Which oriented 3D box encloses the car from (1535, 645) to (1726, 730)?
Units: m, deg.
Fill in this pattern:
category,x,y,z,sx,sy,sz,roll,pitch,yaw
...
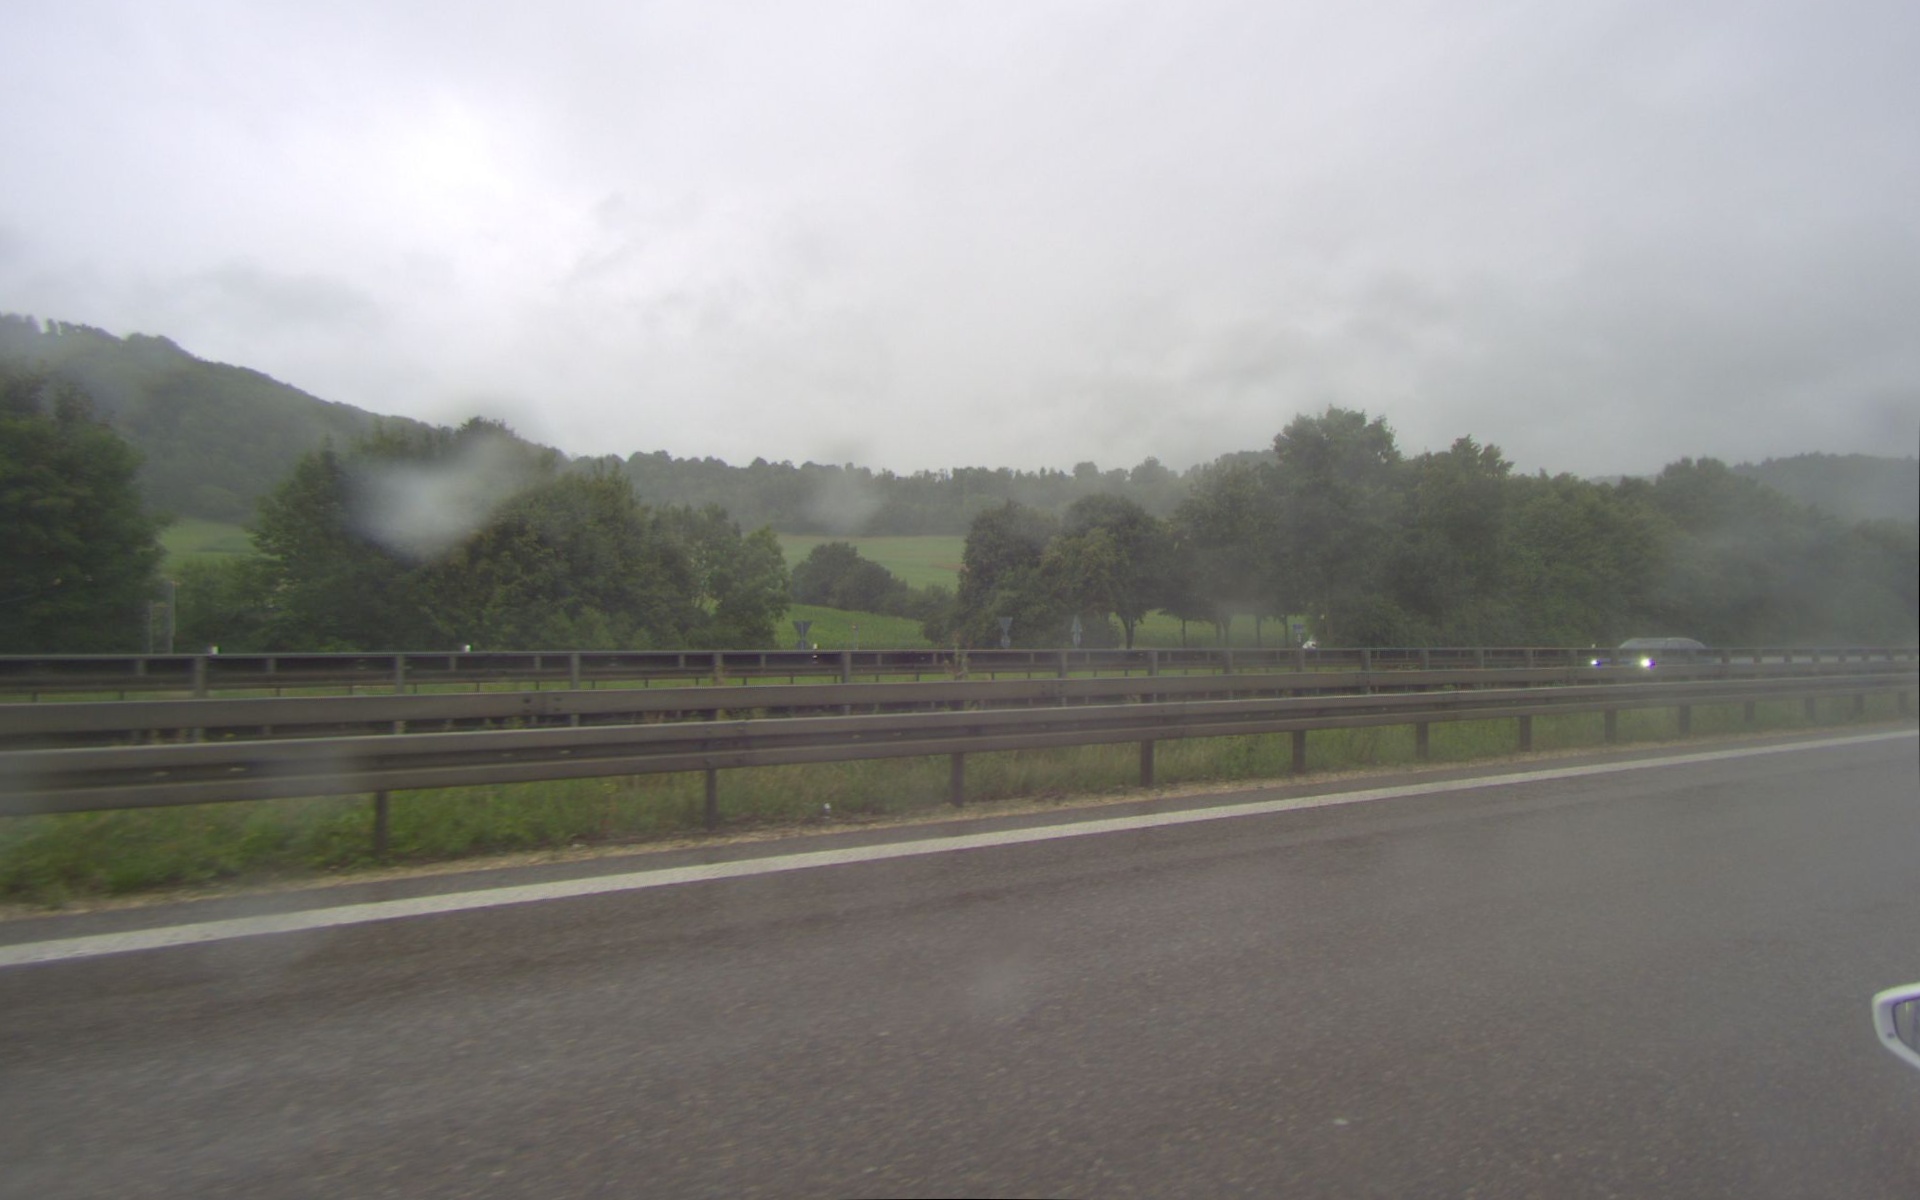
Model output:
category,x,y,z,sx,sy,sz,roll,pitch,yaw
car,20.758,2.601,31.049,5.928,2.258,2.614,1,0,-31
